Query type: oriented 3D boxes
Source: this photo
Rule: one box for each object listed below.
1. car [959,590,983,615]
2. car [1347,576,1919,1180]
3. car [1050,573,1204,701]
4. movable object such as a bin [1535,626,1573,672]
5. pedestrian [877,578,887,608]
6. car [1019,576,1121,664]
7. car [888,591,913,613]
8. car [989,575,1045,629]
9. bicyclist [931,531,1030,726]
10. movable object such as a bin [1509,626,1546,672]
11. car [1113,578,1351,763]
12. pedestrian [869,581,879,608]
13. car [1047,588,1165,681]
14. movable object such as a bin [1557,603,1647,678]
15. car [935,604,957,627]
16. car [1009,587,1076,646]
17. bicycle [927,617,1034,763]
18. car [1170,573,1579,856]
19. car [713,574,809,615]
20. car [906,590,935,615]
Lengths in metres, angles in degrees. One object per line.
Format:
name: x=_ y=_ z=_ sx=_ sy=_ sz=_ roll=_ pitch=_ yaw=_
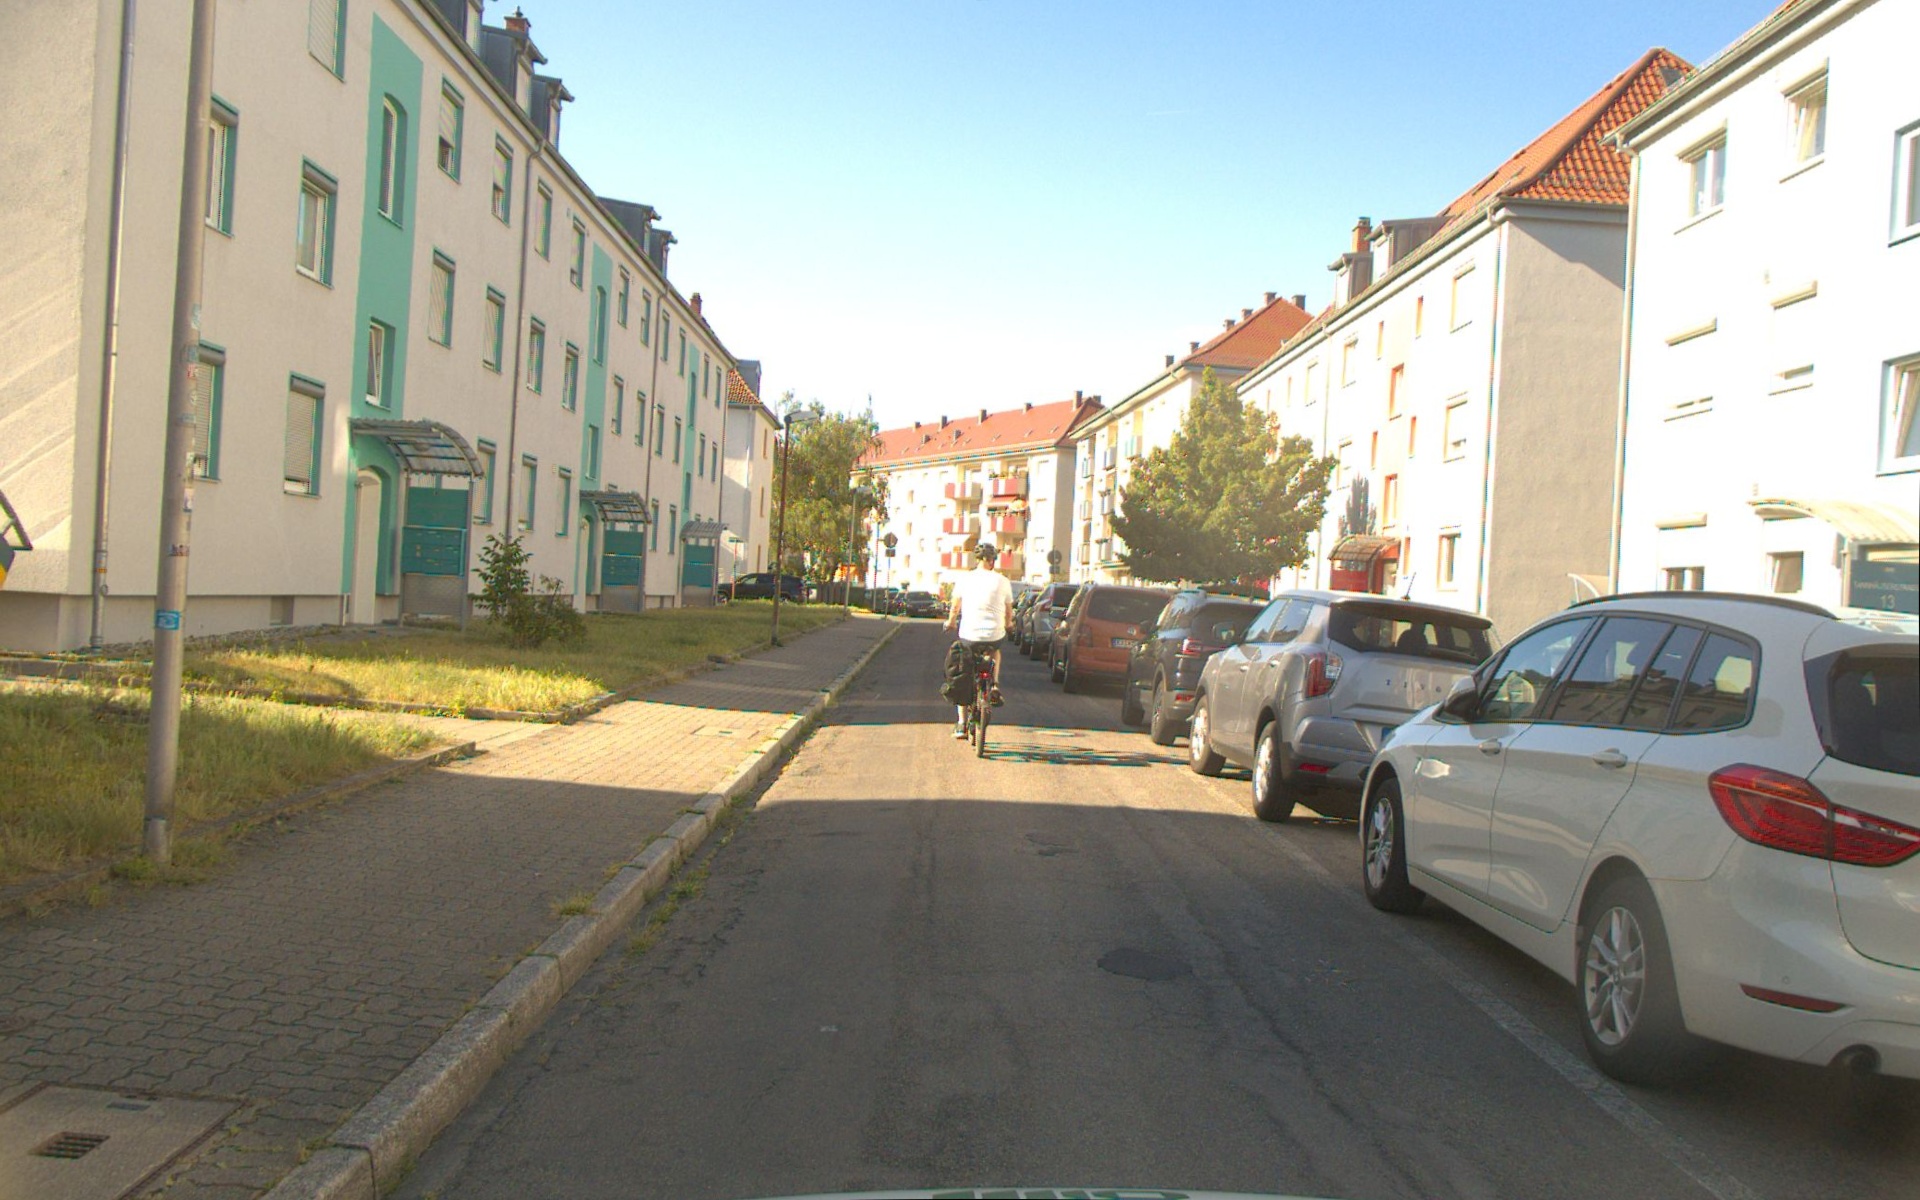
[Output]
car: x=0.720 y=0.181 z=109.140 sx=1.354 sy=1.523 sz=3.076 roll=3 pitch=1 yaw=-3
car: x=3.016 y=0.763 z=6.709 sx=1.656 sy=1.602 sz=4.433 roll=4 pitch=1 yaw=-2
car: x=2.497 y=0.511 z=25.698 sx=1.824 sy=1.697 sz=4.126 roll=4 pitch=0 yaw=-1
movable object such as a bin: x=12.180 y=1.007 z=33.921 sx=0.512 sy=0.901 sz=0.633 roll=2 pitch=0 yaw=0
pedestrian: x=-4.184 y=-0.398 z=88.964 sx=0.425 sy=1.601 sz=0.543 roll=3 pitch=0 yaw=-1
car: x=2.349 y=0.388 z=36.282 sx=1.667 sy=1.699 sz=4.378 roll=4 pitch=1 yaw=-2
car: x=-3.762 y=0.113 z=103.778 sx=1.440 sy=1.358 sz=3.139 roll=-1 pitch=1 yaw=-4
car: x=2.026 y=0.043 z=60.004 sx=1.641 sy=1.769 sz=3.941 roll=3 pitch=1 yaw=-3
bicyclist: x=0.169 y=0.241 z=14.765 sx=0.792 sy=1.672 sz=0.898 roll=1 pitch=0 yaw=-3
movable object such as a bin: x=11.635 y=1.000 z=33.928 sx=0.512 sy=0.901 sz=0.633 roll=2 pitch=0 yaw=0
car: x=2.814 y=0.649 z=18.041 sx=1.678 sy=1.623 sz=4.397 roll=5 pitch=1 yaw=-1
pedestrian: x=-4.640 y=-0.298 z=88.954 sx=0.425 sy=1.452 sz=0.543 roll=3 pitch=0 yaw=-1
car: x=2.686 y=0.599 z=31.159 sx=1.586 sy=1.485 sz=3.839 roll=5 pitch=1 yaw=-3
movable object such as a bin: x=13.120 y=0.811 z=33.854 sx=1.332 sy=1.440 sz=1.187 roll=2 pitch=0 yaw=-1
car: x=-1.064 y=1.150 z=121.915 sx=1.440 sy=1.542 sz=3.076 roll=3 pitch=1 yaw=-3
car: x=2.242 y=0.421 z=45.536 sx=1.527 sy=1.436 sz=3.933 roll=3 pitch=1 yaw=-1
bicycle: x=0.151 y=0.756 z=14.750 sx=0.792 sy=1.148 sz=2.101 roll=1 pitch=1 yaw=-3
car: x=2.901 y=0.688 z=12.646 sx=1.716 sy=1.645 sz=4.450 roll=5 pitch=1 yaw=-3
car: x=-8.857 y=-0.250 z=73.908 sx=4.149 sy=1.667 sz=1.581 roll=2 pitch=1 yaw=-5
car: x=-2.227 y=0.114 z=92.760 sx=1.441 sy=1.358 sz=3.138 roll=-1 pitch=1 yaw=-5
